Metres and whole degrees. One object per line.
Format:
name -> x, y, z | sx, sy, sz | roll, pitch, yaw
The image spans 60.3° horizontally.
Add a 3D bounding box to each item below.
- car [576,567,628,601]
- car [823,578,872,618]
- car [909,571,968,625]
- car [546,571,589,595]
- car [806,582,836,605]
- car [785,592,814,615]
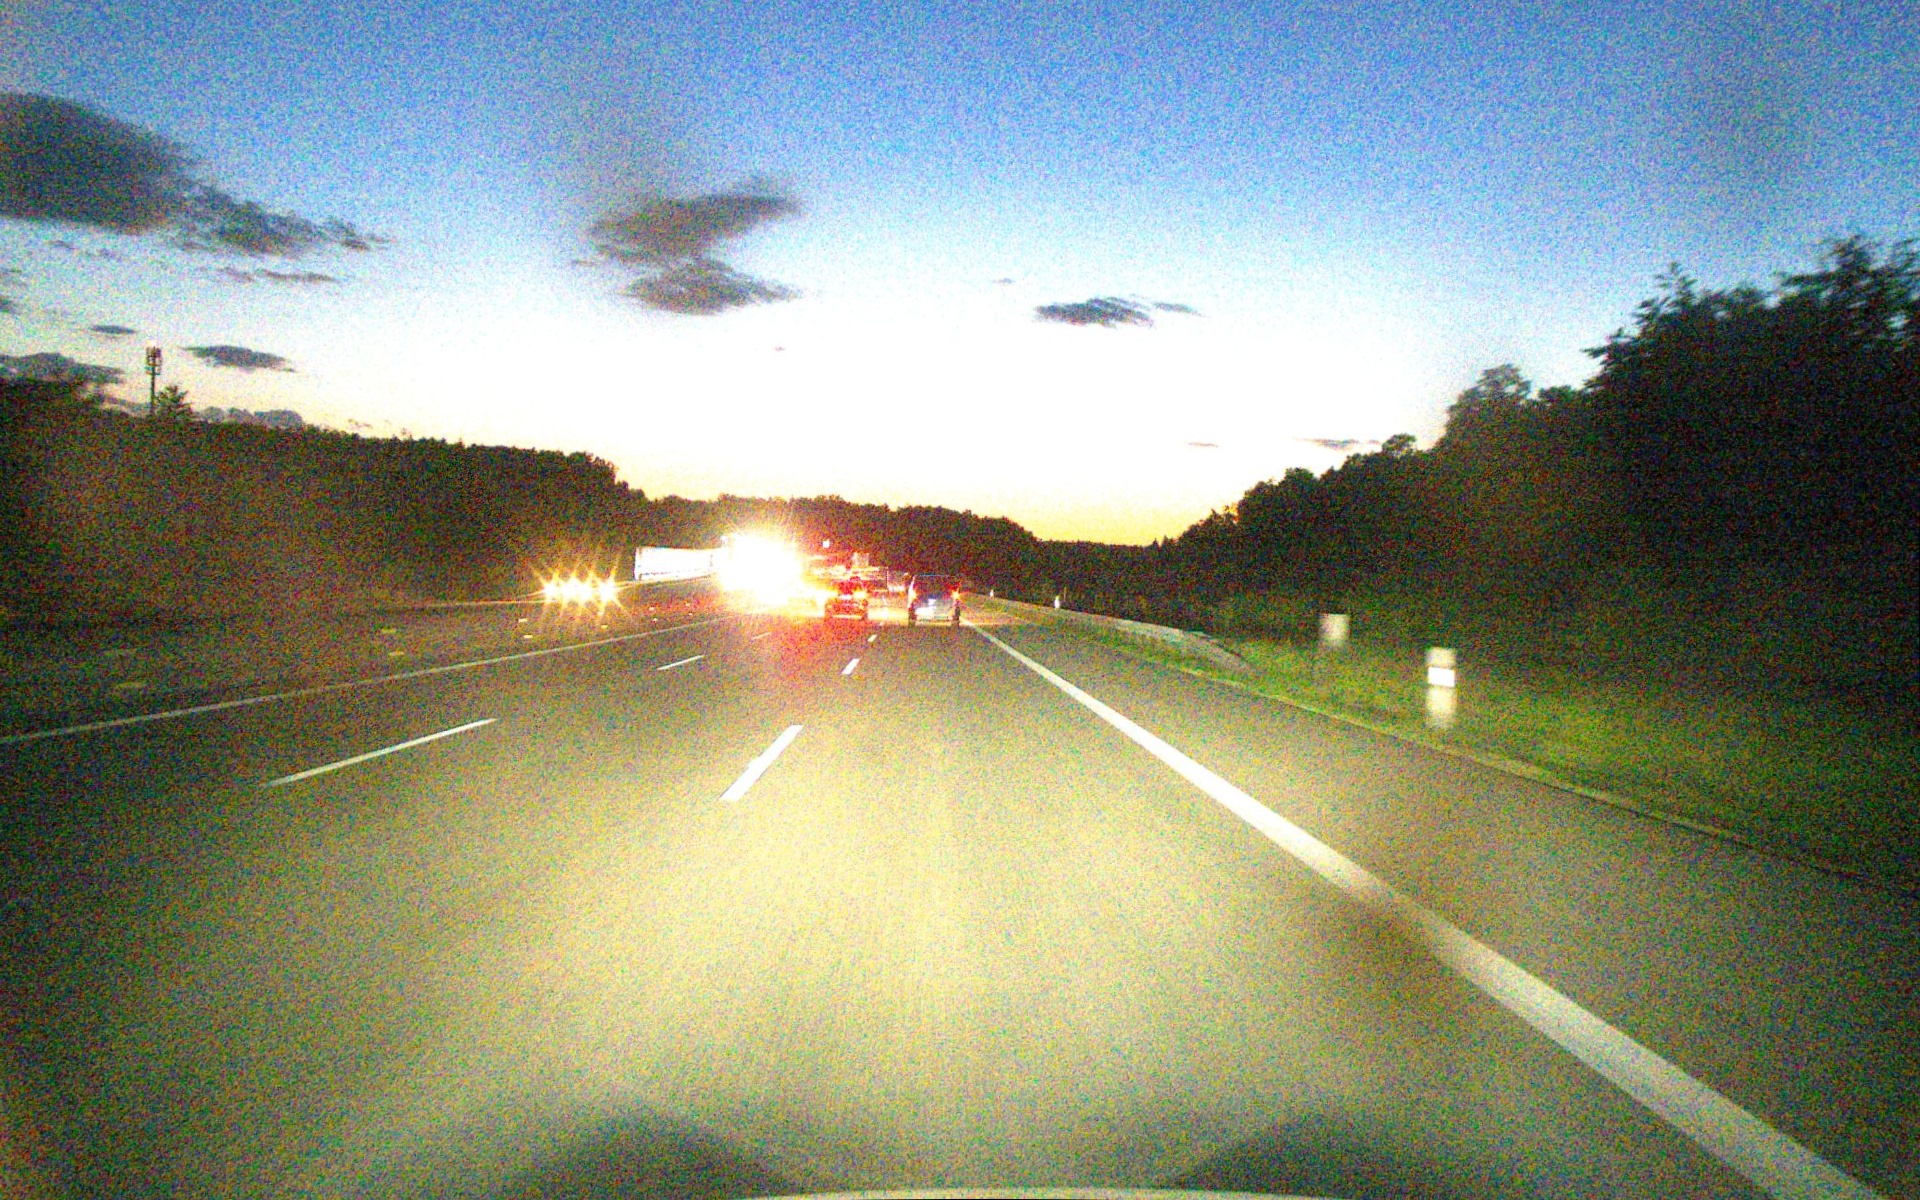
car -> -21.009, -0.935, 97.217 | 2.062, 1.918, 4.658 | 1, 0, -1
car -> -5.051, -0.080, 74.731 | 1.953, 1.751, 5.940 | 0, 0, -1
car -> -0.872, -0.105, 63.906 | 2.152, 1.989, 4.761 | 0, 1, -2
car -> -25.622, -1.099, 107.989 | 1.738, 1.454, 4.658 | 1, 0, -1
car -> -10.112, -0.488, 120.604 | 1.743, 1.512, 5.253 | 0, 1, -1
car -> -10.354, 0.213, 107.222 | 1.518, 1.456, 5.512 | 0, 0, -2
